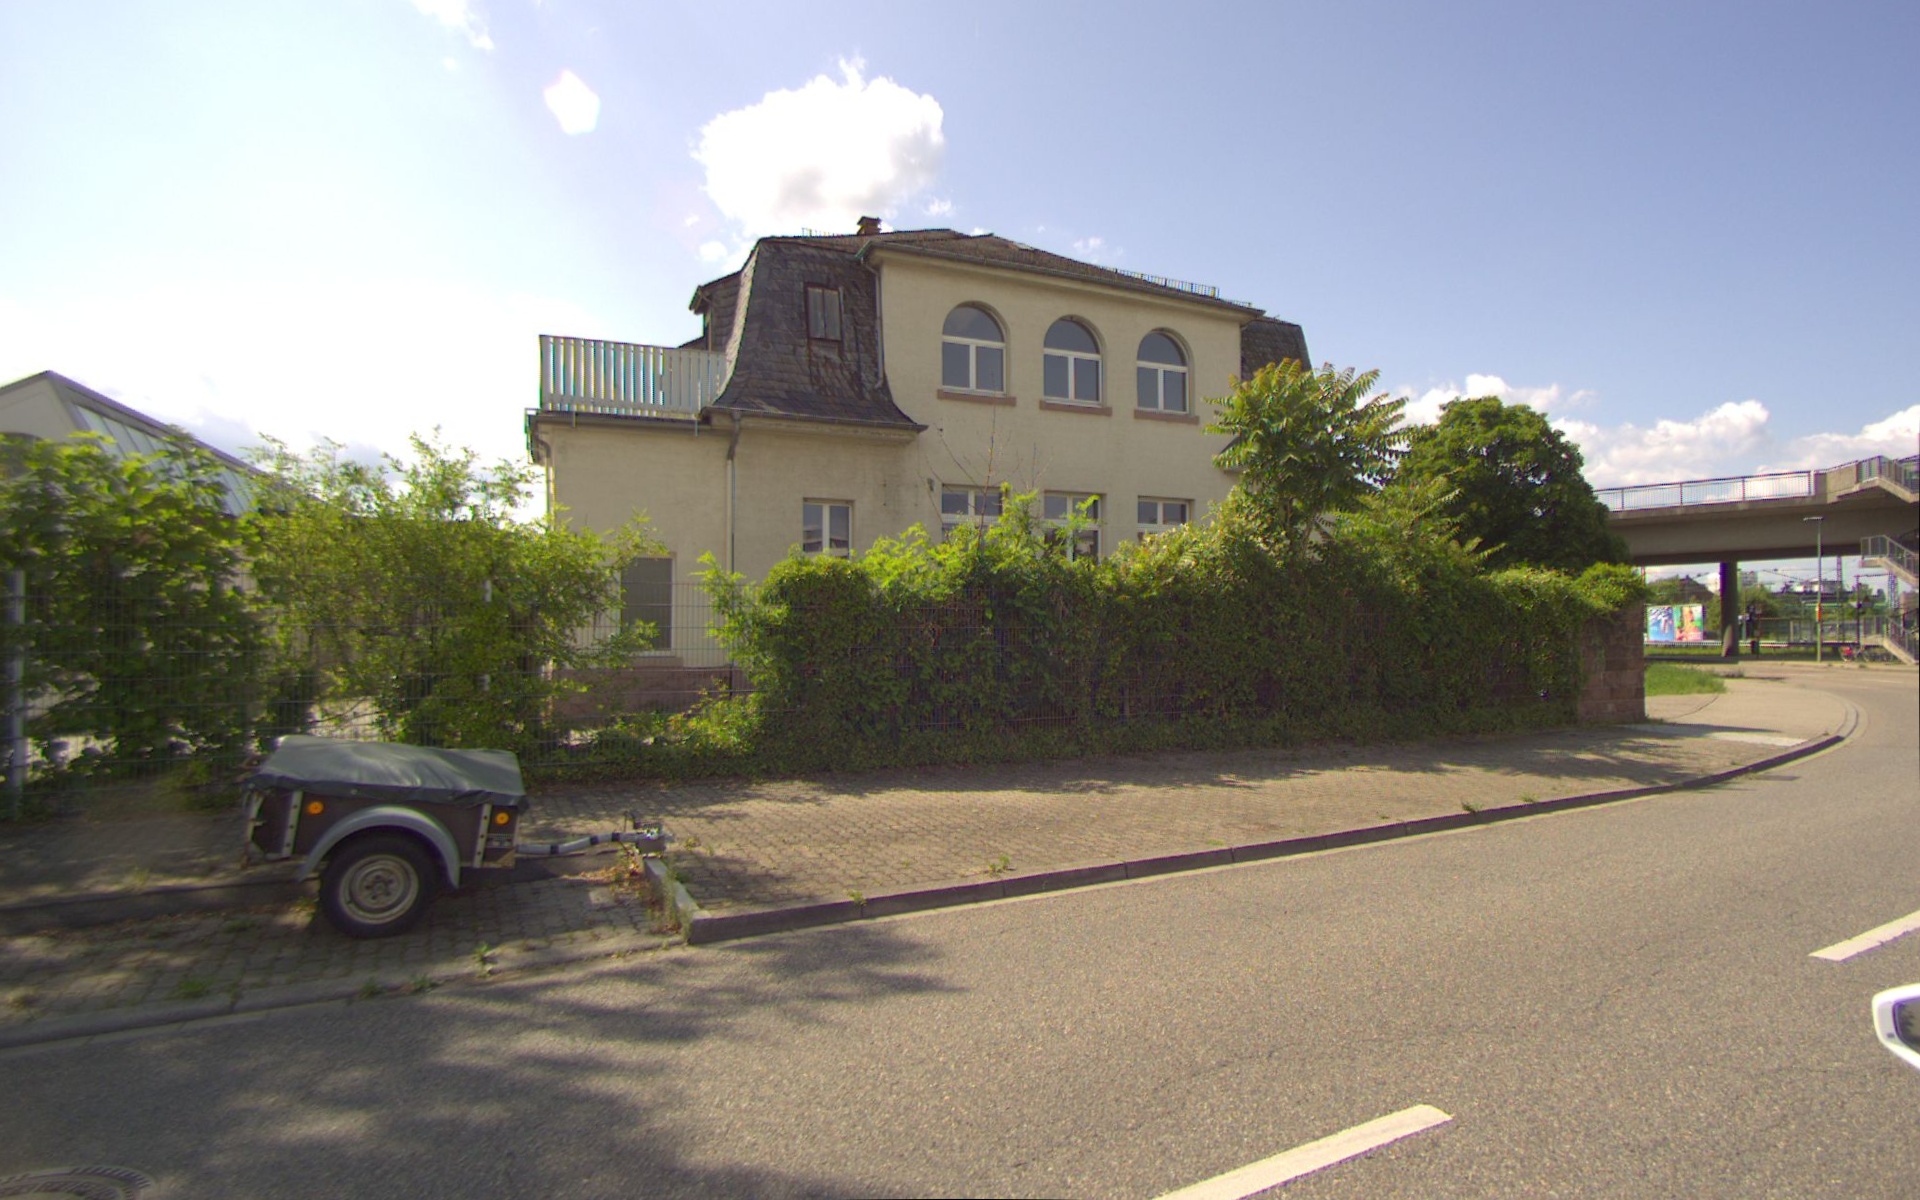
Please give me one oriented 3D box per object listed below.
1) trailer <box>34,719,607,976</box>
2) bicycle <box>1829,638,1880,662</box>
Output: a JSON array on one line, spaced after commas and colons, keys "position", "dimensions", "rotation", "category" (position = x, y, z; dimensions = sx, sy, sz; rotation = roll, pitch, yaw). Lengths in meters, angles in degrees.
[{"position": [-3.384, 1.255, 5.711], "dimensions": [2.435, 0.862, 1.459], "rotation": [1, 2, -27], "category": "trailer"}, {"position": [43.822, 2.436, 49.221], "dimensions": [0.632, 1.122, 2.193], "rotation": [-1, -2, 5], "category": "bicycle"}]
